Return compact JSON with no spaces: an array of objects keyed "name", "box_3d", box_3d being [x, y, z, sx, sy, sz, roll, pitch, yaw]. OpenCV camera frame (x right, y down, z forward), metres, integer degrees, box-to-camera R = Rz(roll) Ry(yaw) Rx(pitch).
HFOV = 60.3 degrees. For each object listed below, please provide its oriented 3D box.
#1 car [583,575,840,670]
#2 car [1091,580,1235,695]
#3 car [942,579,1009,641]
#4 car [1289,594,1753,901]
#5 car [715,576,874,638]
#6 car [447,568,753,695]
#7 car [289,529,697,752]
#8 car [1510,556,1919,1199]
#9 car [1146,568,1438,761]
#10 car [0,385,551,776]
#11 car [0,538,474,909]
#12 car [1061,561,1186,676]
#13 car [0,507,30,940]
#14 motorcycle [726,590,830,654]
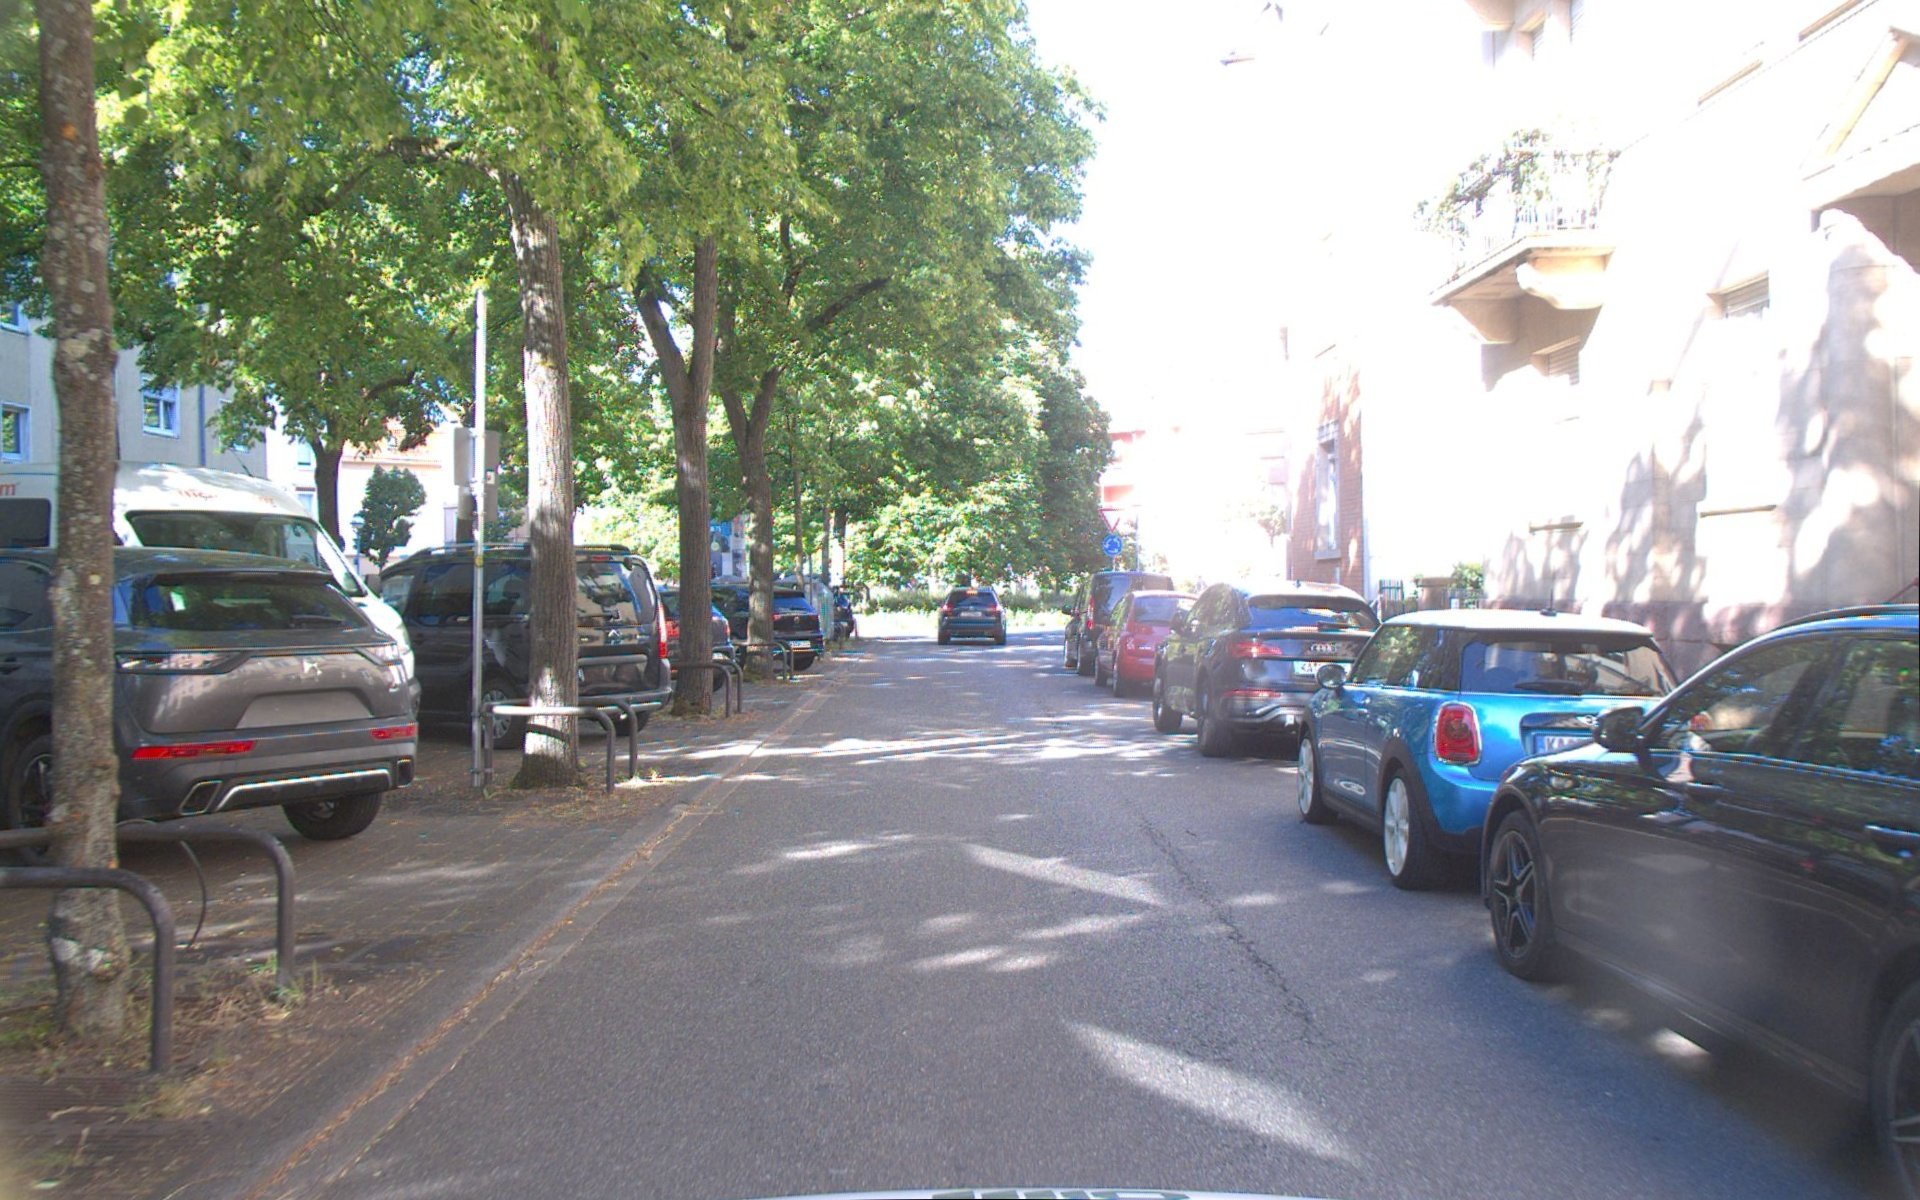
[{"name":"car","box_3d":[-4.174,0.378,28.184,4.003,1.492,1.868,1,0,3]},{"name":"car","box_3d":[3.043,0.513,25.458,1.612,1.564,3.999,3,1,-1]},{"name":"car","box_3d":[0.426,0.224,44.109,1.679,1.508,4.145,-1,1,1]},{"name":"car","box_3d":[3.105,0.718,9.907,1.557,1.439,3.632,1,1,1]},{"name":"car","box_3d":[-4.294,0.172,42.621,4.065,1.507,1.767,0,0,40]},{"name":"car","box_3d":[-4.777,0.396,22.133,3.646,1.609,1.638,0,0,12]},{"name":"car","box_3d":[-4.567,0.315,16.054,3.772,1.921,1.838,0,1,35]},{"name":"car","box_3d":[3.154,0.666,4.708,1.768,1.591,4.321,-1,1,1]},{"name":"car","box_3d":[3.180,0.542,16.795,1.827,1.672,4.489,1,1,-3]},{"name":"car","box_3d":[-6.774,0.002,13.830,5.937,2.668,2.457,-4,-2,15]},{"name":"car","box_3d":[-4.876,0.515,9.216,4.180,1.670,1.653,1,1,28]},{"name":"car","box_3d":[2.962,0.301,30.704,1.765,1.903,4.272,3,1,-1]},{"name":"car","box_3d":[-6.291,0.529,7.172,4.294,1.808,1.897,0,0,27]},{"name":"motorcycle","box_3d":[-3.489,0.416,31.797,1.898,1.191,0.519,-1,1,5]}]
